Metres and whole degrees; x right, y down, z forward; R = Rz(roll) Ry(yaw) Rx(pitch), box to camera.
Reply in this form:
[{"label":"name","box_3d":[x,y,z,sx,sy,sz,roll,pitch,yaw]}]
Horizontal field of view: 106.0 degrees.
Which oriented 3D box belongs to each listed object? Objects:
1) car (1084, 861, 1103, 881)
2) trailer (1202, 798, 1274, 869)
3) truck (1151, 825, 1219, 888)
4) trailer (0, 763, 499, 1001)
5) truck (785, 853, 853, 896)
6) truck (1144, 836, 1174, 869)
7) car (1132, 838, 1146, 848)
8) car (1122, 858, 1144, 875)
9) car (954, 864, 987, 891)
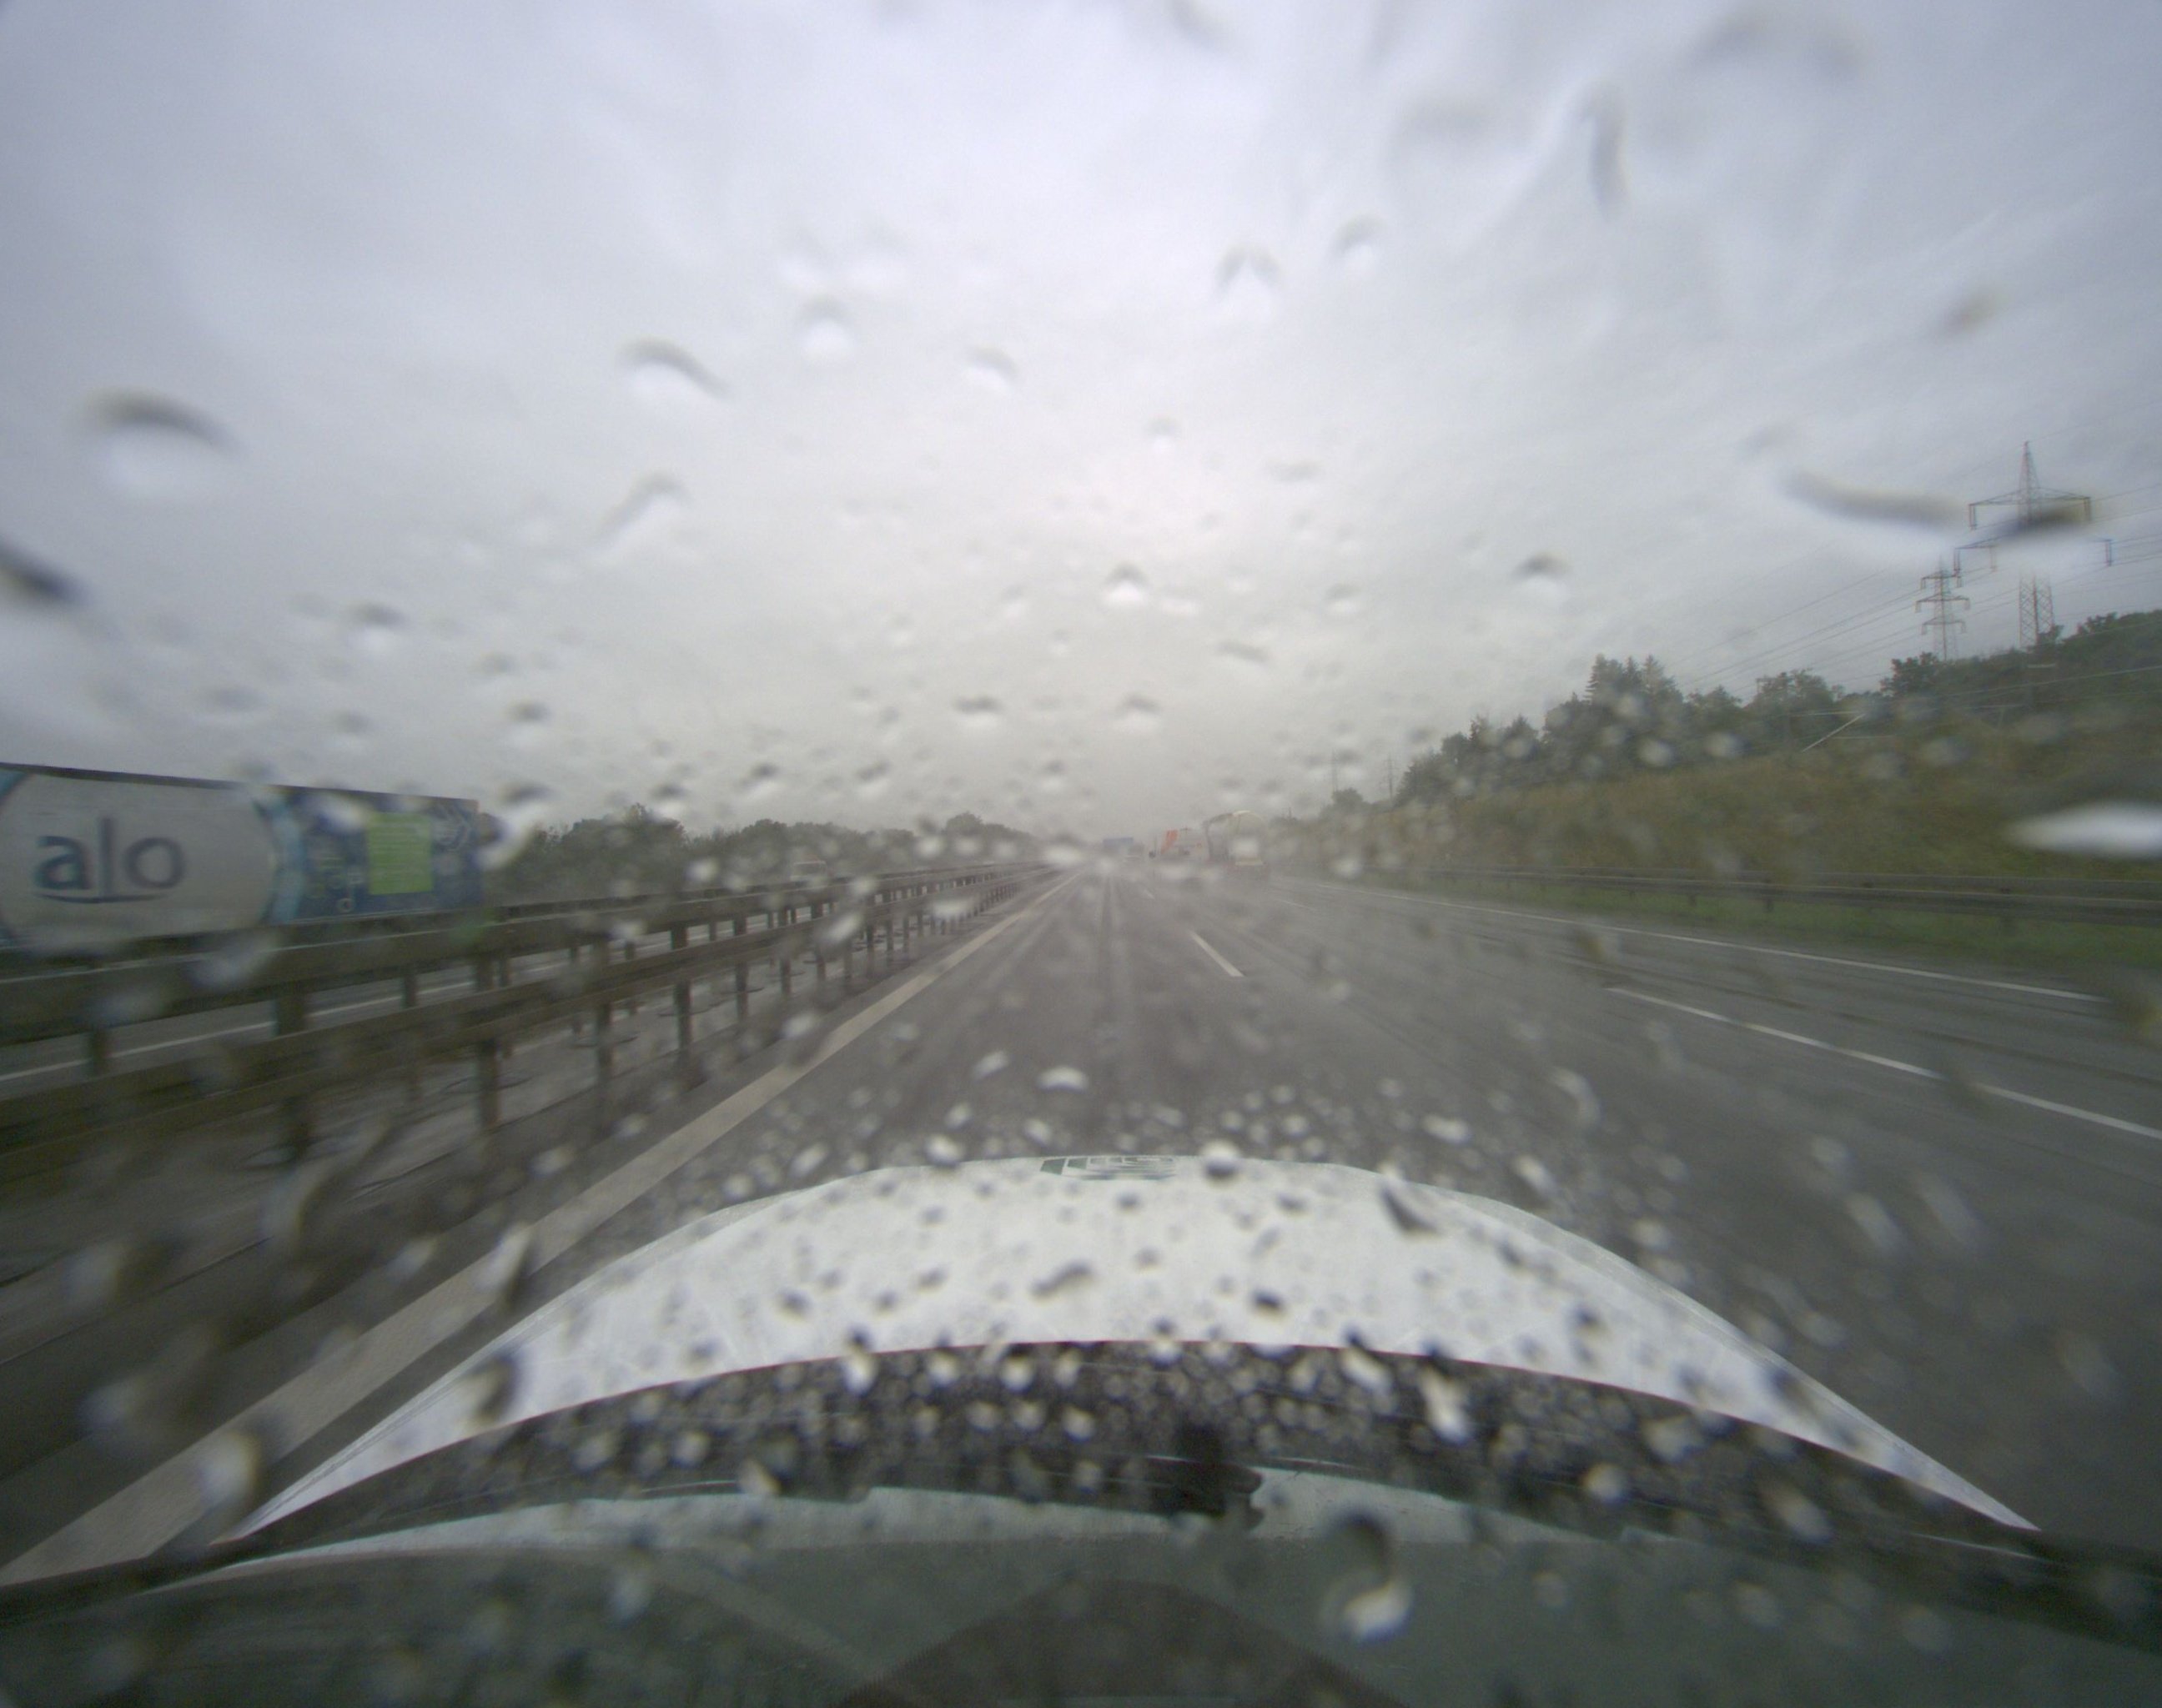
[{"label":"car","box_3d":[1.176,1.585,76.911,1.695,1.818,3.863,-1,0,2]},{"label":"trailer","box_3d":[9.515,-1.139,50.577,2.488,3.882,11.067,-1,0,1]},{"label":"truck","box_3d":[4.409,0.116,35.455,2.410,2.492,5.562,-1,0,2]},{"label":"trailer","box_3d":[-18.450,0.475,16.857,2.623,3.804,13.590,-1,0,2]},{"label":"truck","box_3d":[-17.310,1.291,54.230,2.319,2.619,6.265,-1,0,1]},{"label":"truck","box_3d":[11.525,-0.049,121.575,3.029,4.588,16.349,-1,-1,1]},{"label":"car","box_3d":[12.961,-2.502,182.154,2.778,2.013,4.994,-1,0,1]},{"label":"car","box_3d":[4.184,1.001,65.497,1.600,1.338,3.849,-1,0,1]},{"label":"car","box_3d":[-9.183,1.904,68.163,1.986,2.104,4.767,-1,0,1]}]
